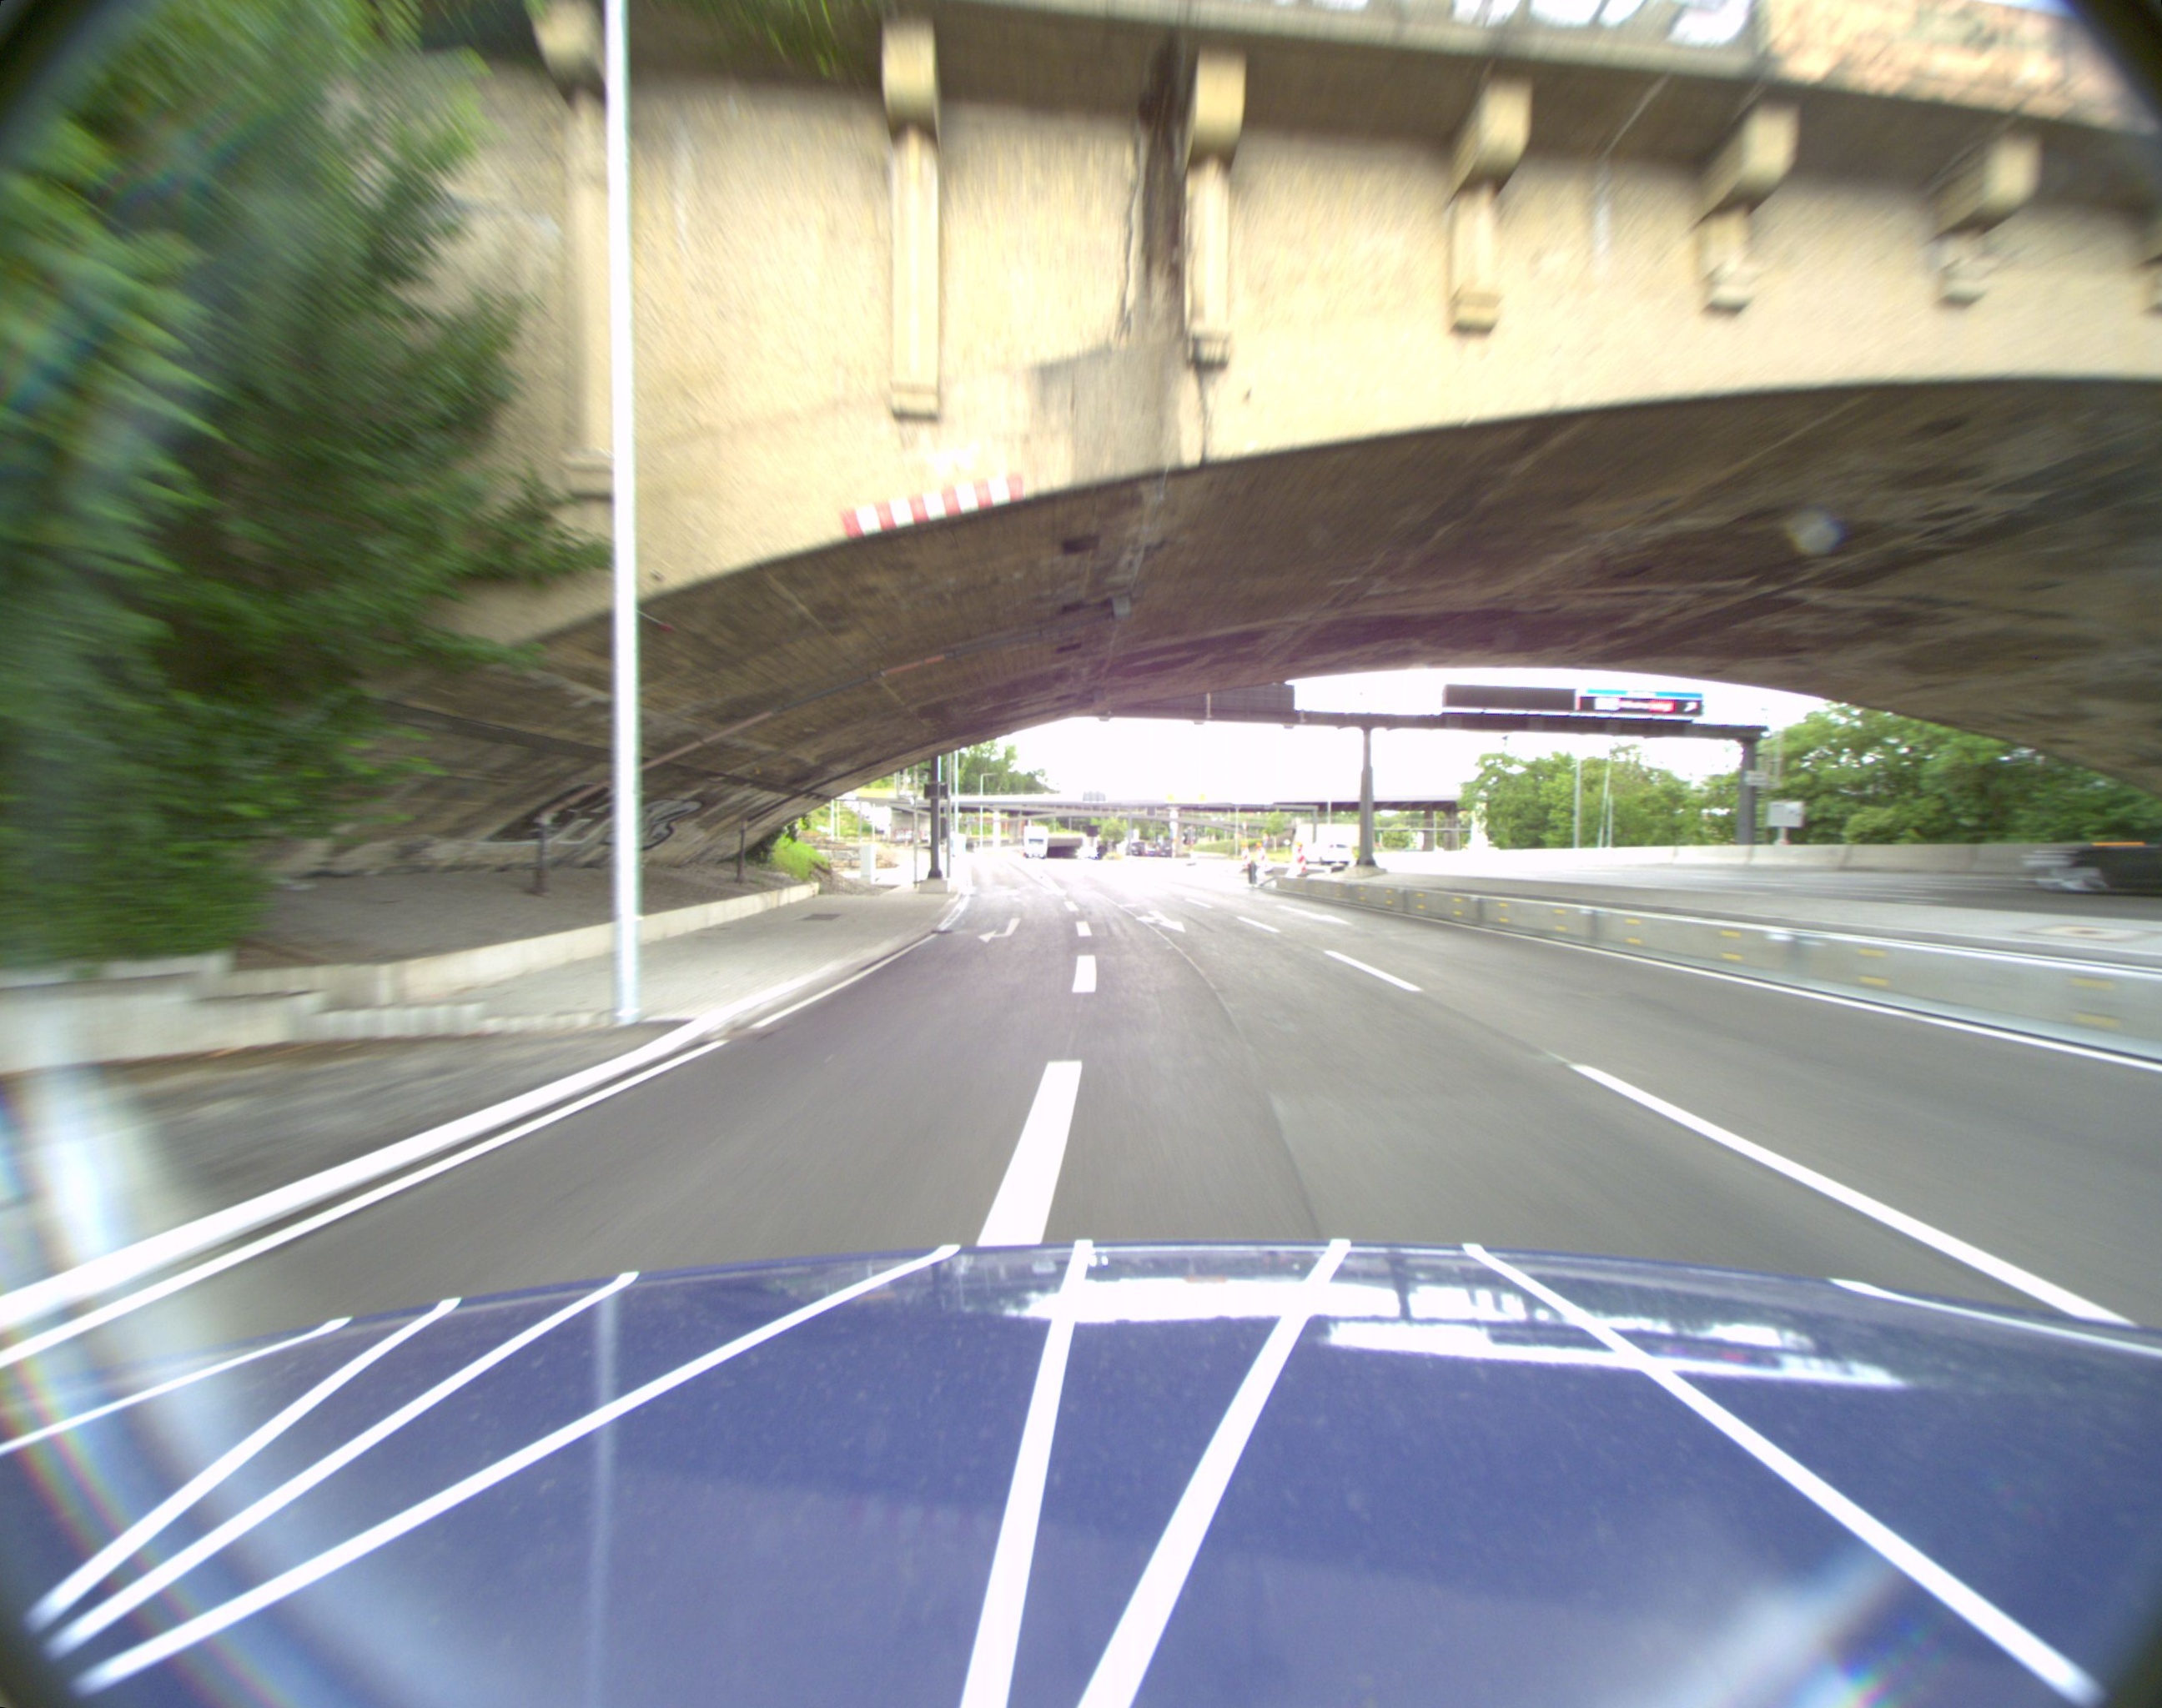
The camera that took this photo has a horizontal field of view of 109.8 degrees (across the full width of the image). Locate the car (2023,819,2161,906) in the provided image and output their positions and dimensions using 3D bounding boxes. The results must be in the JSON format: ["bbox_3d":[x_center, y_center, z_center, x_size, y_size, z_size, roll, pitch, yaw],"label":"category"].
[{"bbox_3d":[20.051,0.126,13.182,1.823,1.528,4.398,-2,1,-5],"label":"car"}]

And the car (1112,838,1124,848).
[{"bbox_3d":[6.185,-1.850,127.065,1.640,1.455,3.999,-4,0,-1],"label":"car"}]

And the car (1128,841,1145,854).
[{"bbox_3d":[8.952,-1.011,122.144,2.020,1.963,4.717,-2,1,-4],"label":"car"}]

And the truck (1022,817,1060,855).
[{"bbox_3d":[-4.251,-1.738,78.546,3.034,3.566,8.944,-4,0,-7],"label":"truck"}]

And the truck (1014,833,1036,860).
[{"bbox_3d":[-7.849,-1.019,106.089,2.575,3.548,9.108,-1,1,-7],"label":"truck"}]

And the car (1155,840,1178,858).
[{"bbox_3d":[12.422,-0.795,110.735,2.296,2.476,6.192,-2,1,-4],"label":"car"}]

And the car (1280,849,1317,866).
[{"bbox_3d":[20.413,0.302,71.383,1.823,1.528,4.398,-2,1,-5],"label":"car"}]

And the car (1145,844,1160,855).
[{"bbox_3d":[12.608,-0.768,133.835,1.999,1.805,3.998,-2,1,-4],"label":"car"}]

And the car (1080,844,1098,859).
[{"bbox_3d":[1.024,-0.344,101.516,1.869,1.827,4.203,-1,1,-6],"label":"car"}]

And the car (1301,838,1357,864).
[{"bbox_3d":[15.617,-0.203,48.089,1.843,1.528,4.398,-2,1,-4],"label":"car"}]
